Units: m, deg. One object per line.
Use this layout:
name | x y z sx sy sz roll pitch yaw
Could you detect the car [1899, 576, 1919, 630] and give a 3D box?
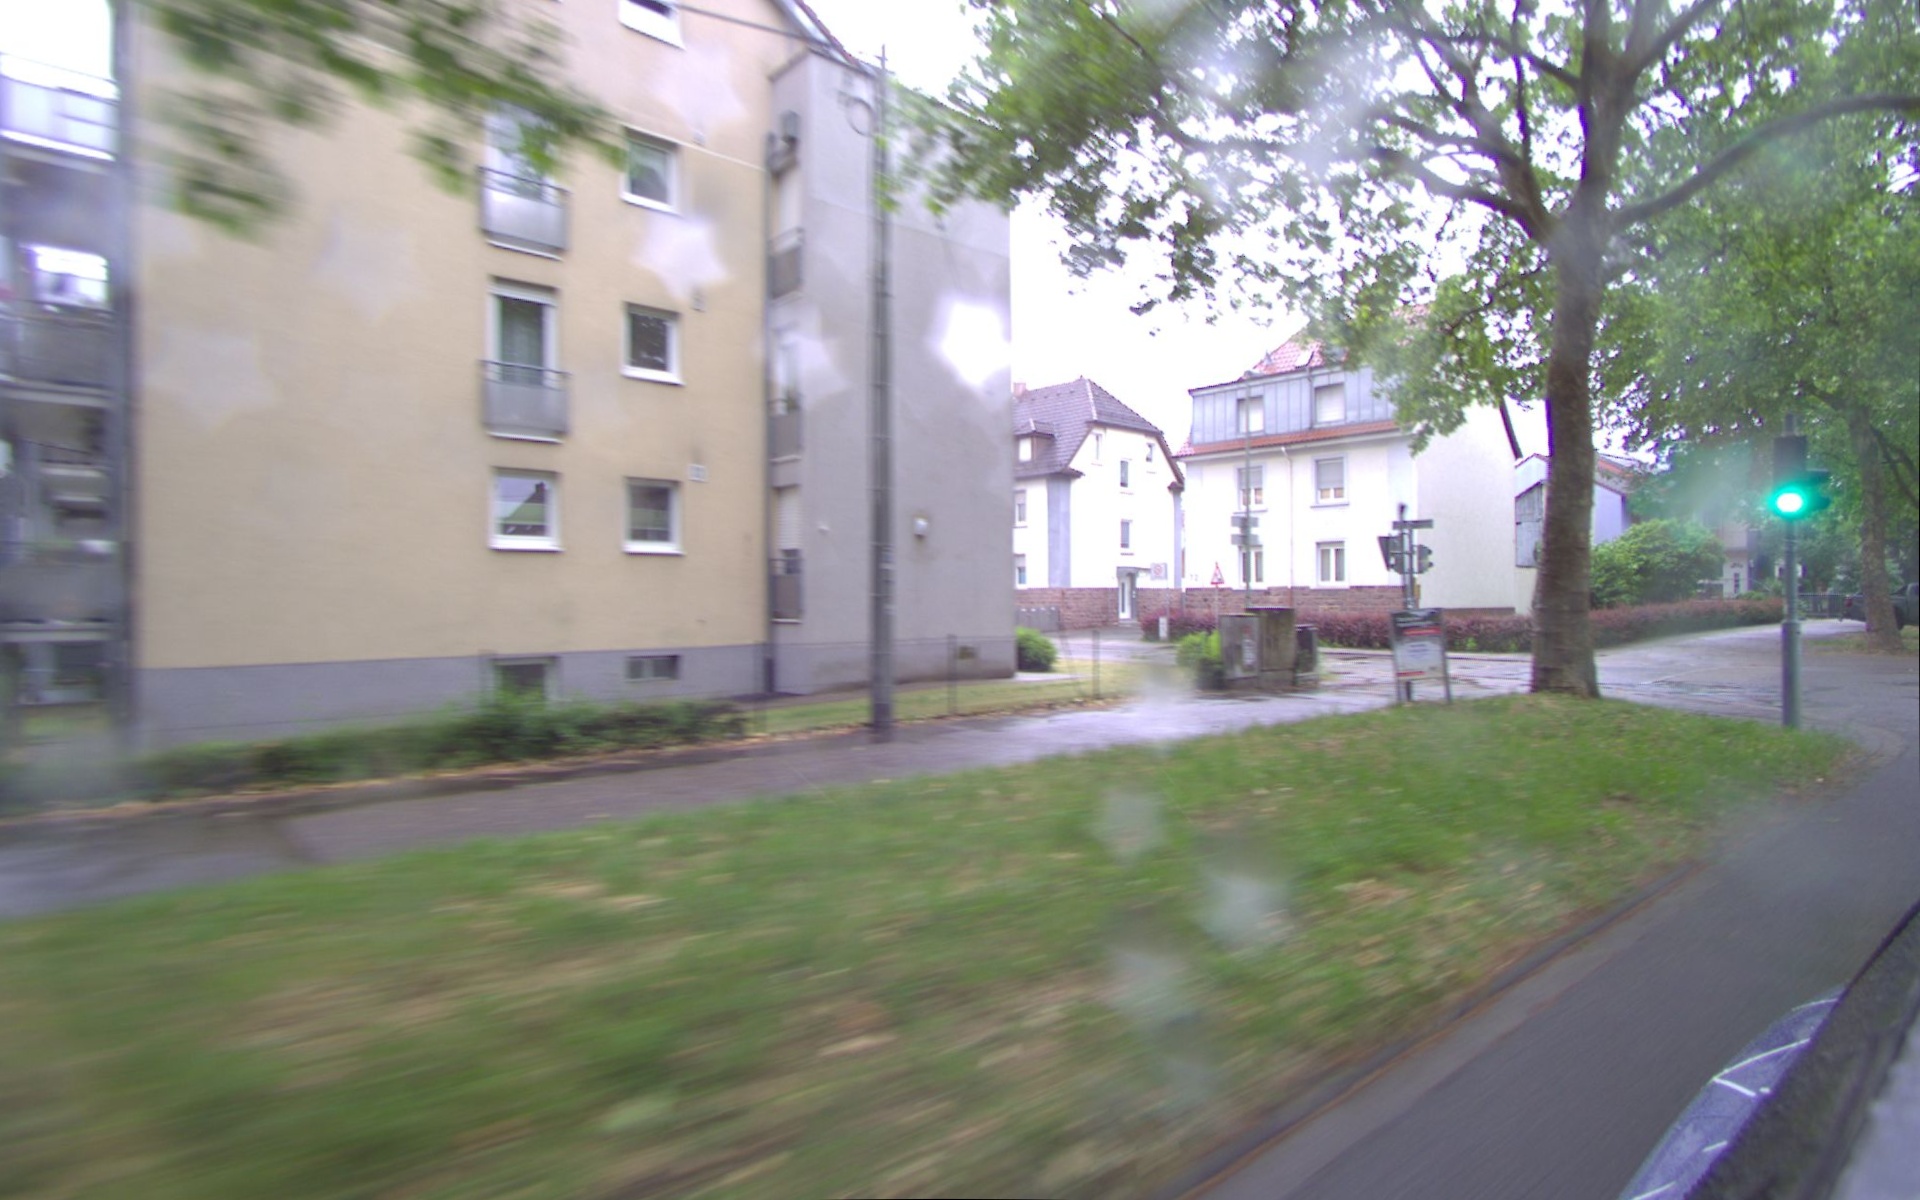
car | 34.945 0.100 34.431 1.860 1.880 4.256 0 0 -43
